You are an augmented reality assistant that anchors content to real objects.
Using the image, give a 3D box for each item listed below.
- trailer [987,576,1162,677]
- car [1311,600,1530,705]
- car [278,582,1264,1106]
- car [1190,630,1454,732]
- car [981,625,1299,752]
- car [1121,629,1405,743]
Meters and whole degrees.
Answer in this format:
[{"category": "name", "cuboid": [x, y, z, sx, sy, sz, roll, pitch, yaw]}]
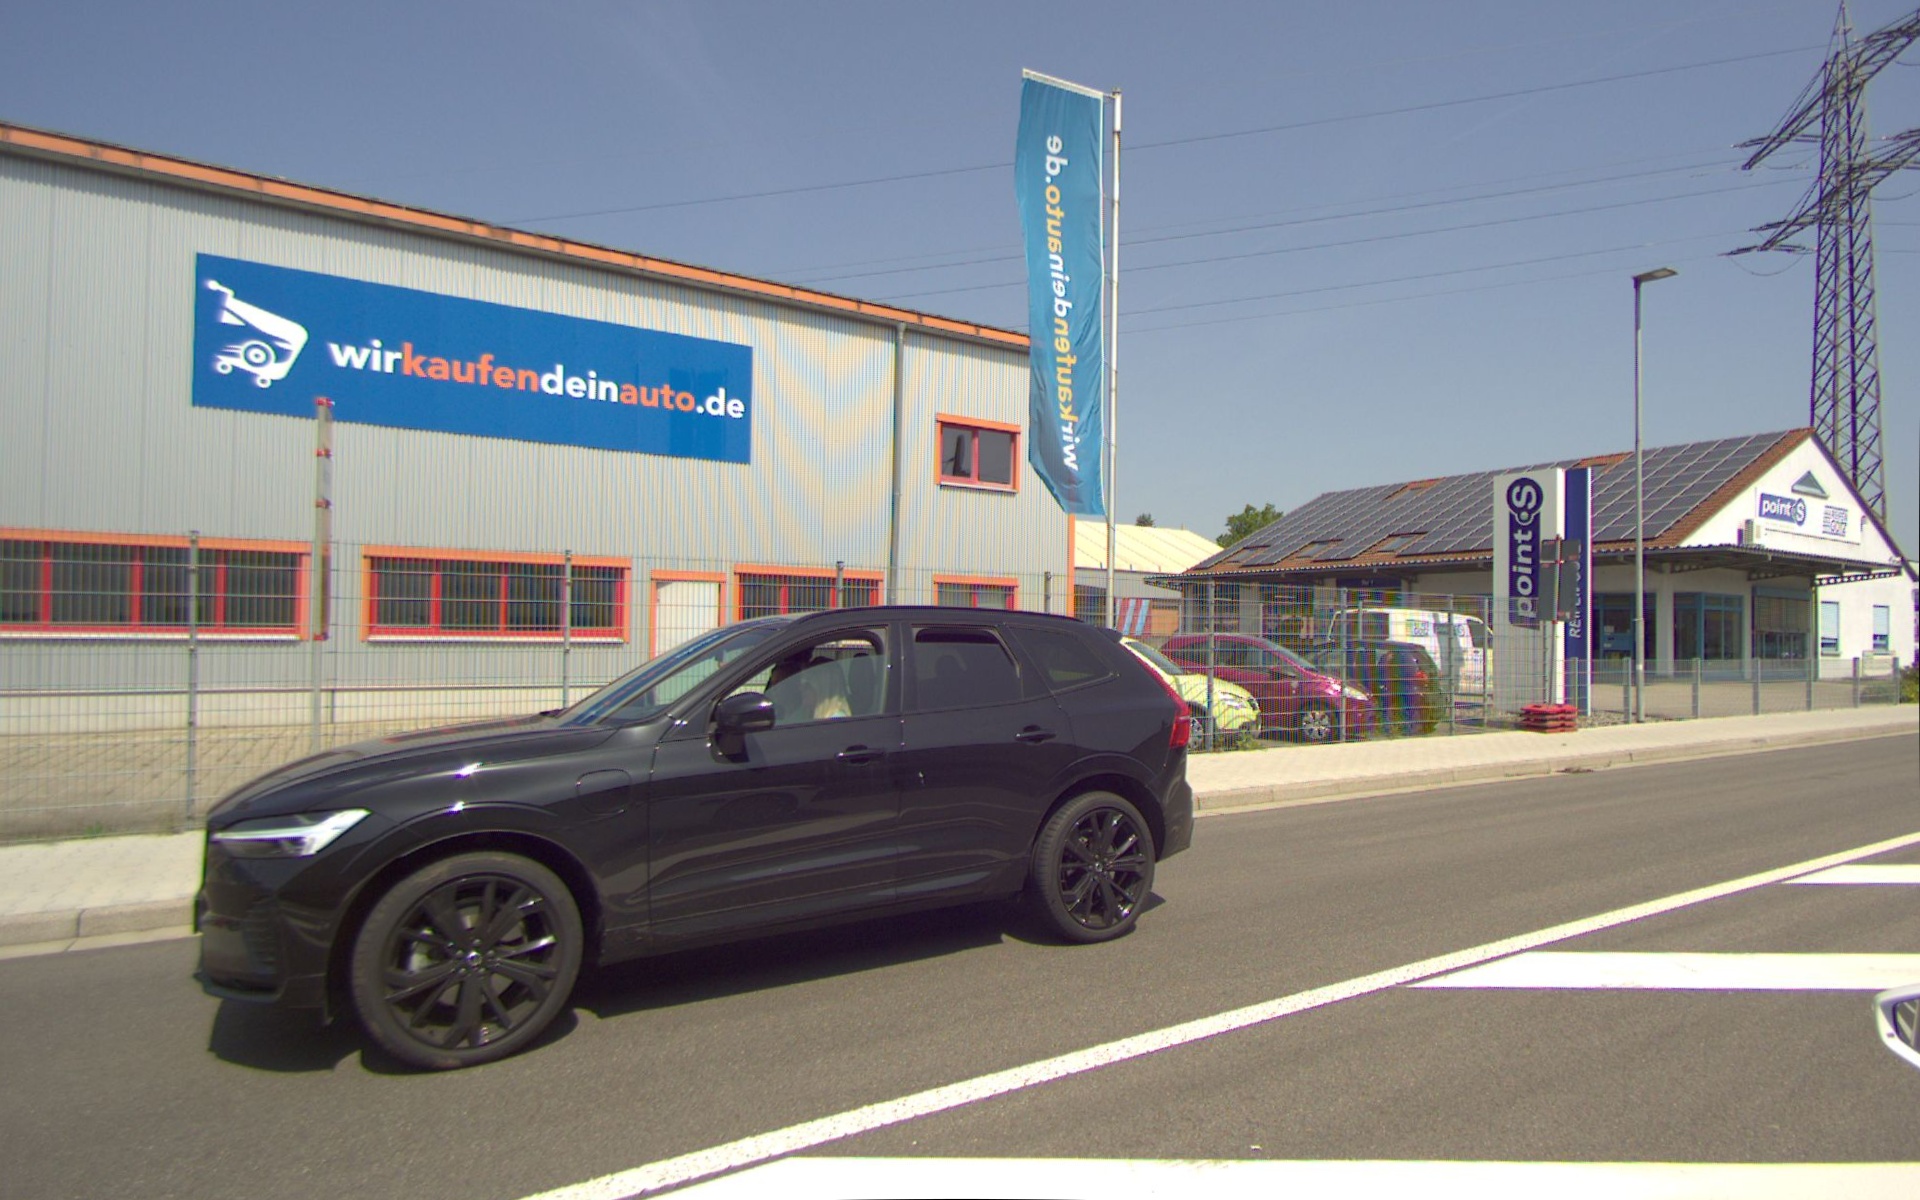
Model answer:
[{"category": "trailer", "cuboid": [3.574, 0.855, 30.968, 5.067, 2.886, 2.151, 3, -1, -32]}, {"category": "car", "cuboid": [9.901, 1.139, 21.534, 4.626, 2.040, 1.984, 2, -3, -30]}, {"category": "car", "cuboid": [-0.717, 0.879, 5.163, 4.472, 1.637, 1.872, 2, -4, -32]}, {"category": "car", "cuboid": [6.096, 1.287, 17.056, 3.933, 1.513, 1.739, -1, -2, 34]}, {"category": "car", "cuboid": [2.475, 1.121, 13.835, 4.015, 1.513, 1.743, 0, -2, 24]}, {"category": "car", "cuboid": [4.619, 1.226, 15.368, 3.926, 1.513, 1.742, 0, -2, 27]}]
